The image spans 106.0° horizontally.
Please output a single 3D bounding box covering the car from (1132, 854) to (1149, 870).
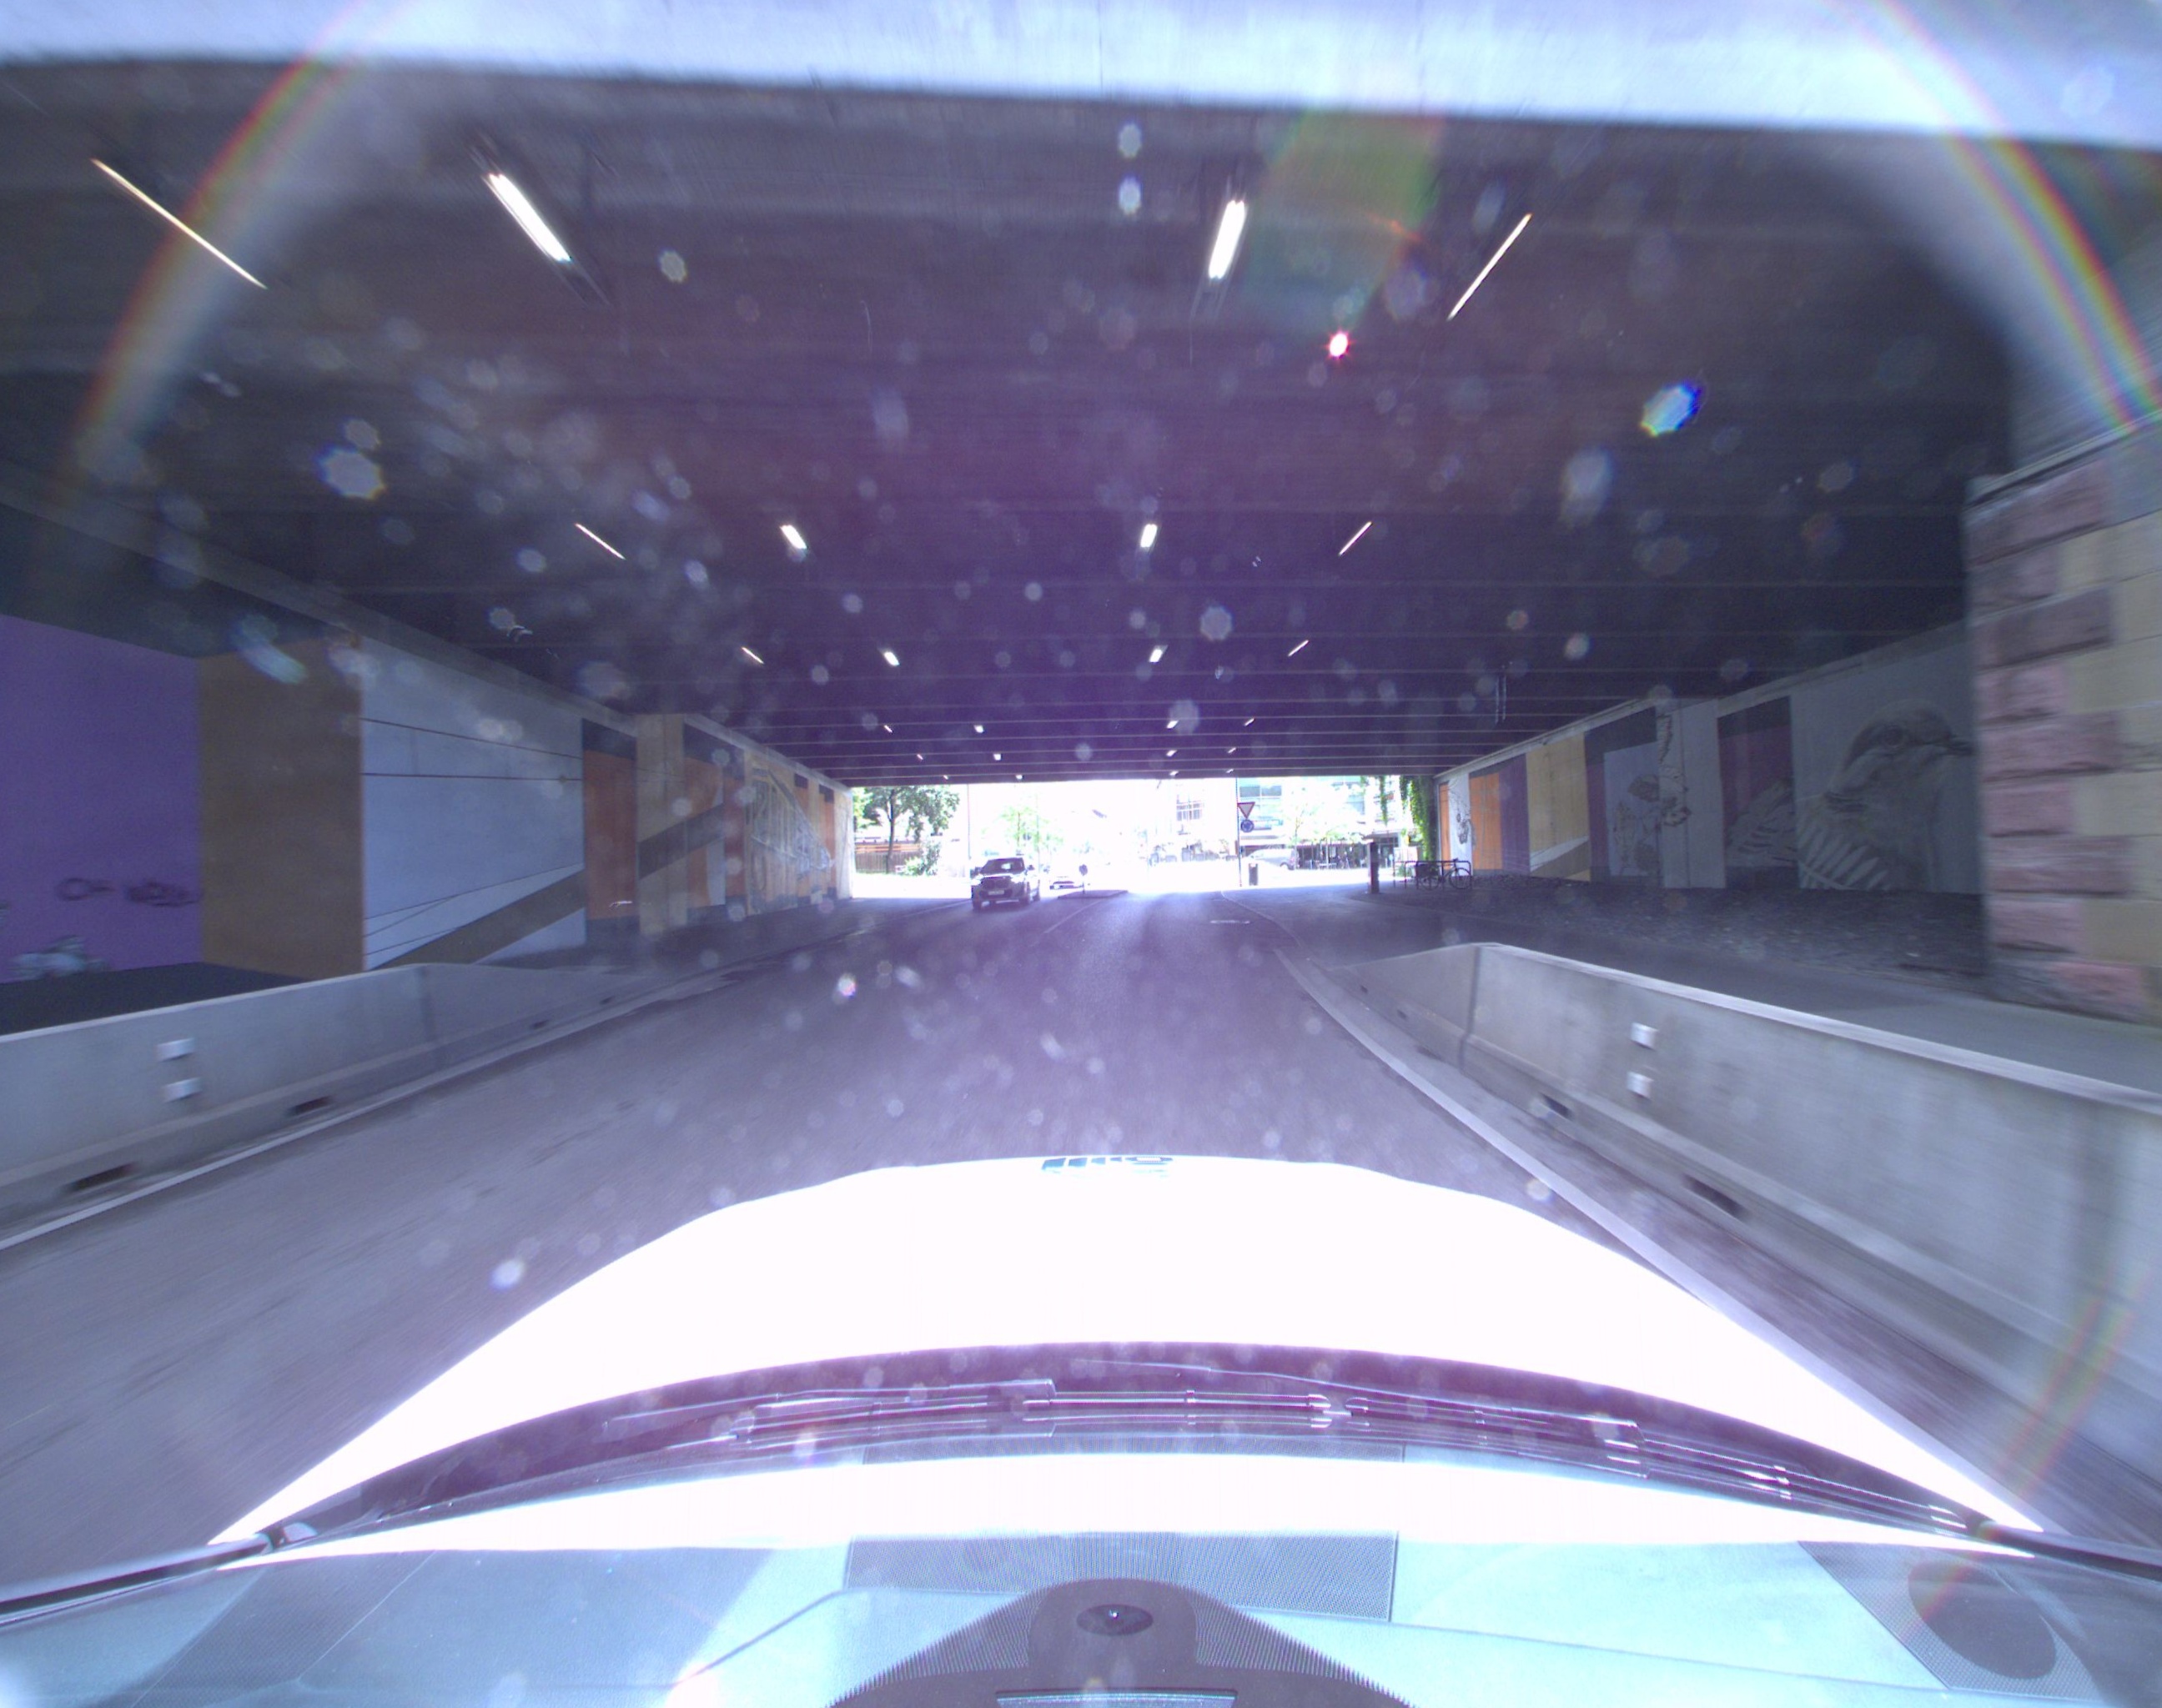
[{"bbox_3d":[7.139,0.959,97.747,1.815,1.731,4.241,-3,-1,7],"label":"car"}]

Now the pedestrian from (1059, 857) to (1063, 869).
[{"bbox_3d":[-2.930,1.295,120.123,0.549,1.686,0.516,-1,0,0],"label":"pedestrian"}]

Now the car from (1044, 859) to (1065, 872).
[{"bbox_3d":[-2.877,1.251,88.297,1.701,1.245,4.417,-1,0,5],"label":"car"}]

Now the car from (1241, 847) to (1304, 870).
[{"bbox_3d":[15.949,0.369,67.947,4.632,1.688,2.013,-2,-1,30],"label":"car"}]

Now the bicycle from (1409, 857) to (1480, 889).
[{"bbox_3d":[11.352,0.597,25.452,1.939,0.904,0.506,-3,-1,-1],"label":"bicycle"}]

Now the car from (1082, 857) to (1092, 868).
[{"bbox_3d":[0.990,1.439,138.531,1.704,1.712,3.999,-1,0,0],"label":"car"}]

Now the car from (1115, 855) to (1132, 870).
[{"bbox_3d":[4.675,0.914,90.357,1.817,1.519,4.235,-2,-1,2],"label":"car"}]

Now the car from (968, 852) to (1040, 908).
[{"bbox_3d":[-2.491,0.807,27.358,1.818,1.654,4.216,-3,0,2],"label":"car"}]

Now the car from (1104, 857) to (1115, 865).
[{"bbox_3d":[4.871,1.206,140.241,1.704,1.354,3.999,-1,0,0],"label":"car"}]

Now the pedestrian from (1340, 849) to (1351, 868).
[{"bbox_3d":[23.882,0.423,73.502,0.698,1.674,0.613,-1,-1,-21],"label":"pedestrian"}]

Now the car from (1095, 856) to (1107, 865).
[{"bbox_3d":[2.895,0.924,119.270,1.704,1.354,3.999,-1,0,0],"label":"car"}]

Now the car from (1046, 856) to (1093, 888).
[{"bbox_3d":[-0.514,0.874,40.751,1.662,1.447,3.862,-3,0,9],"label":"car"}]

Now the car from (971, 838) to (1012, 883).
[{"bbox_3d":[-5.508,0.385,50.635,1.962,2.607,5.928,0,0,-1],"label":"car"}]
